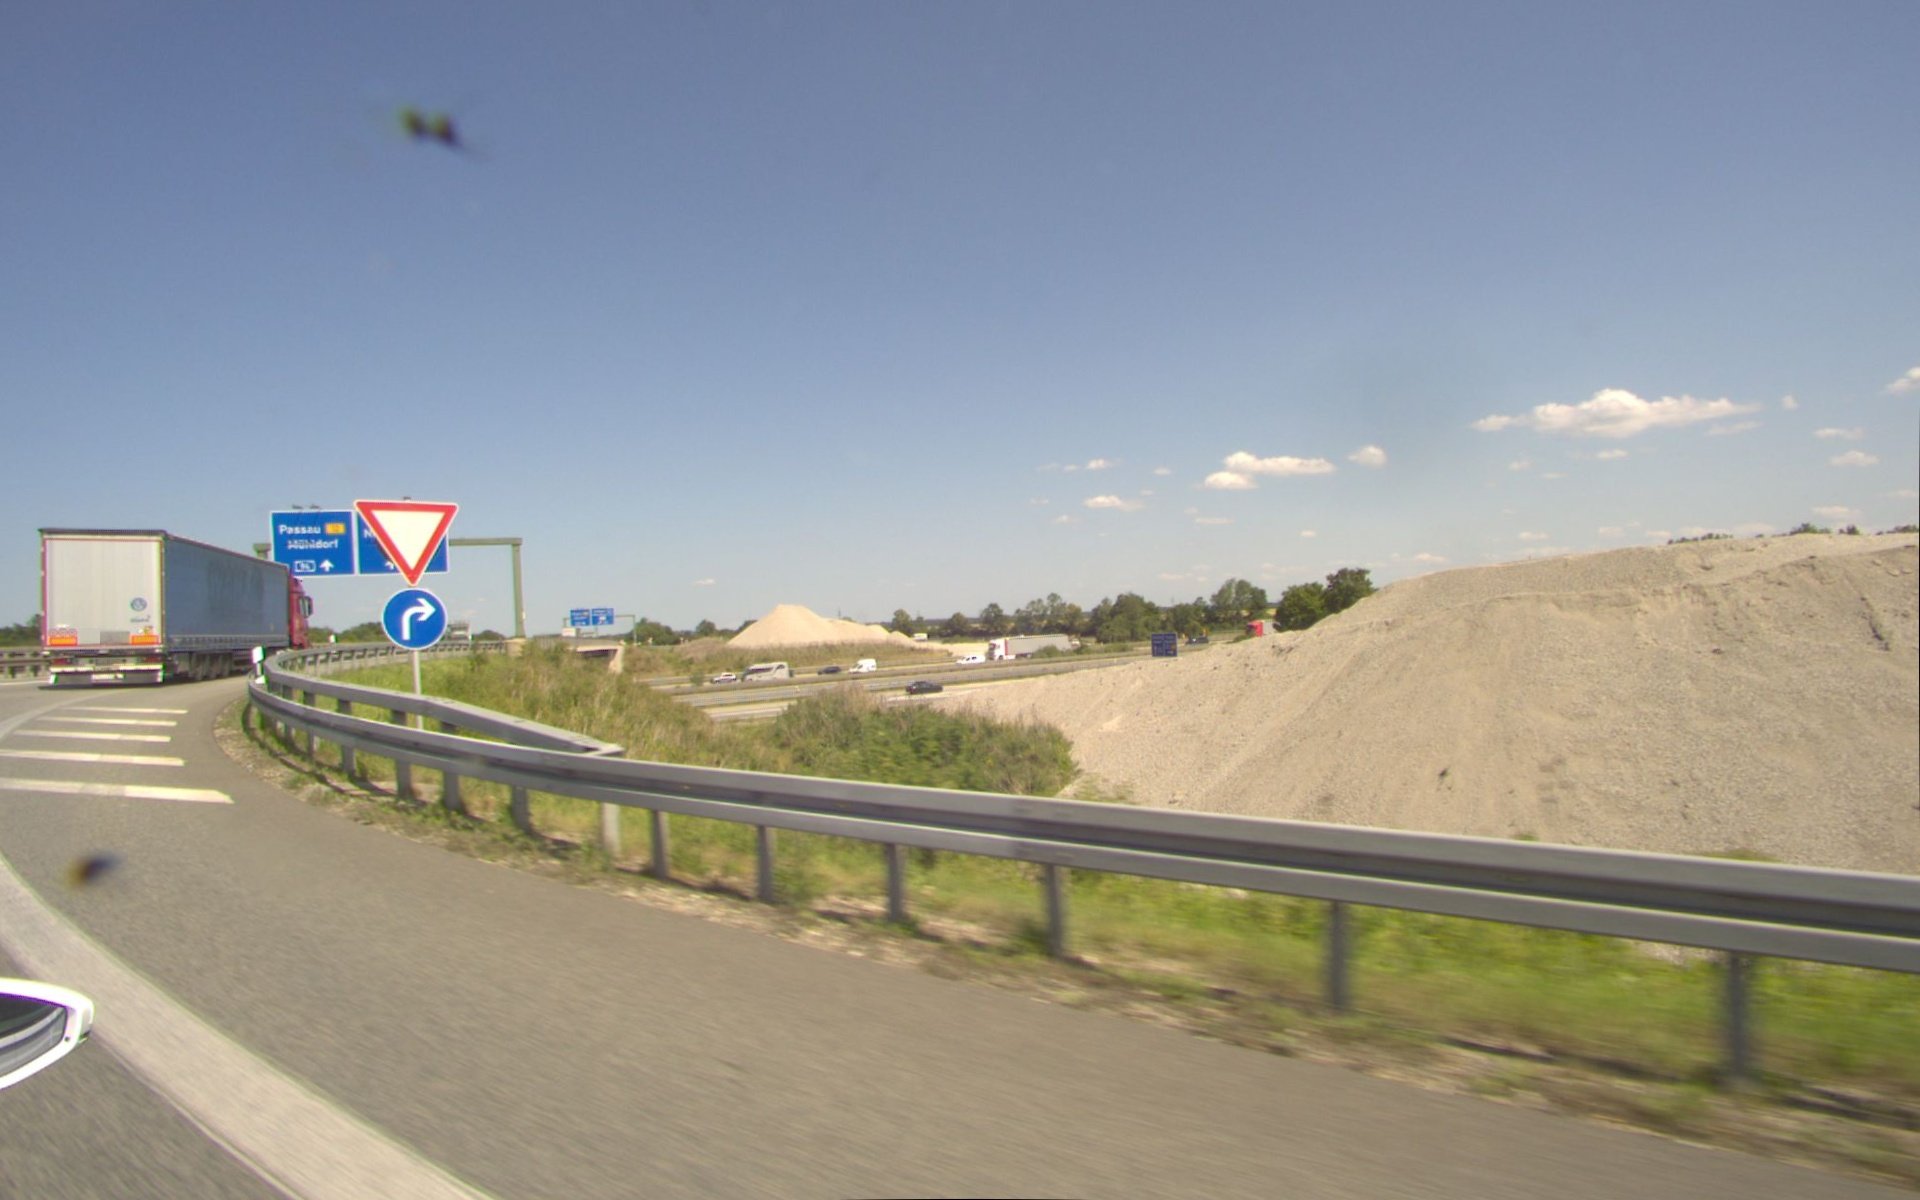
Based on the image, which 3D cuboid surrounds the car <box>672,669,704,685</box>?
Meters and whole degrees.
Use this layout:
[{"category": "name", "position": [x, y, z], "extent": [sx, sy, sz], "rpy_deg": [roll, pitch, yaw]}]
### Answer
[{"category": "car", "position": [-38.397, 10.916, 141.183], "extent": [3.943, 2.036, 1.871], "rpy_deg": [0, -6, -30]}]

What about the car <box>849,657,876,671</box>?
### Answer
[{"category": "car", "position": [-15.752, 10.336, 161.493], "extent": [3.935, 2.039, 1.798], "rpy_deg": [0, -2, -24]}]

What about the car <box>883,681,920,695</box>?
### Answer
[{"category": "car", "position": [-6.921, 10.386, 118.579], "extent": [3.946, 1.593, 1.989], "rpy_deg": [3, -3, -32]}]

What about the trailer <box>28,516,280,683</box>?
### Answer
[{"category": "trailer", "position": [-24.106, 0.293, 30.850], "extent": [2.874, 4.196, 11.232], "rpy_deg": [0, -3, -22]}]

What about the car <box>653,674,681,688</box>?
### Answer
[{"category": "car", "position": [-46.890, 12.950, 160.431], "extent": [3.938, 2.038, 1.881], "rpy_deg": [-2, -3, -27]}]

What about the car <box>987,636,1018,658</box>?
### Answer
[{"category": "car", "position": [7.740, 8.548, 183.006], "extent": [5.080, 4.014, 2.474], "rpy_deg": [0, -2, -26]}]

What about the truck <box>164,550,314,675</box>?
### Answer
[{"category": "truck", "position": [-26.561, 0.596, 37.291], "extent": [2.873, 4.196, 6.912], "rpy_deg": [0, -3, -21]}]

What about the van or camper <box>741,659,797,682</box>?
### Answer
[{"category": "van or camper", "position": [-30.143, 11.105, 157.921], "extent": [8.031, 3.031, 2.977], "rpy_deg": [-2, -4, -26]}]

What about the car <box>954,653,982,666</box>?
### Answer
[{"category": "car", "position": [1.392, 10.158, 170.824], "extent": [4.341, 2.039, 1.993], "rpy_deg": [0, -2, -26]}]

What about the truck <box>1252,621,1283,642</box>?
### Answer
[{"category": "truck", "position": [65.832, 6.731, 214.420], "extent": [5.865, 4.117, 2.859], "rpy_deg": [-3, -1, -27]}]

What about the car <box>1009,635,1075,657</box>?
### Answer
[{"category": "car", "position": [15.277, 8.594, 186.741], "extent": [12.811, 4.014, 2.474], "rpy_deg": [1, -2, -26]}]

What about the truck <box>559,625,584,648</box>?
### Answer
[{"category": "truck", "position": [-76.381, 7.190, 197.003], "extent": [3.488, 4.196, 11.246], "rpy_deg": [1, -3, -16]}]
